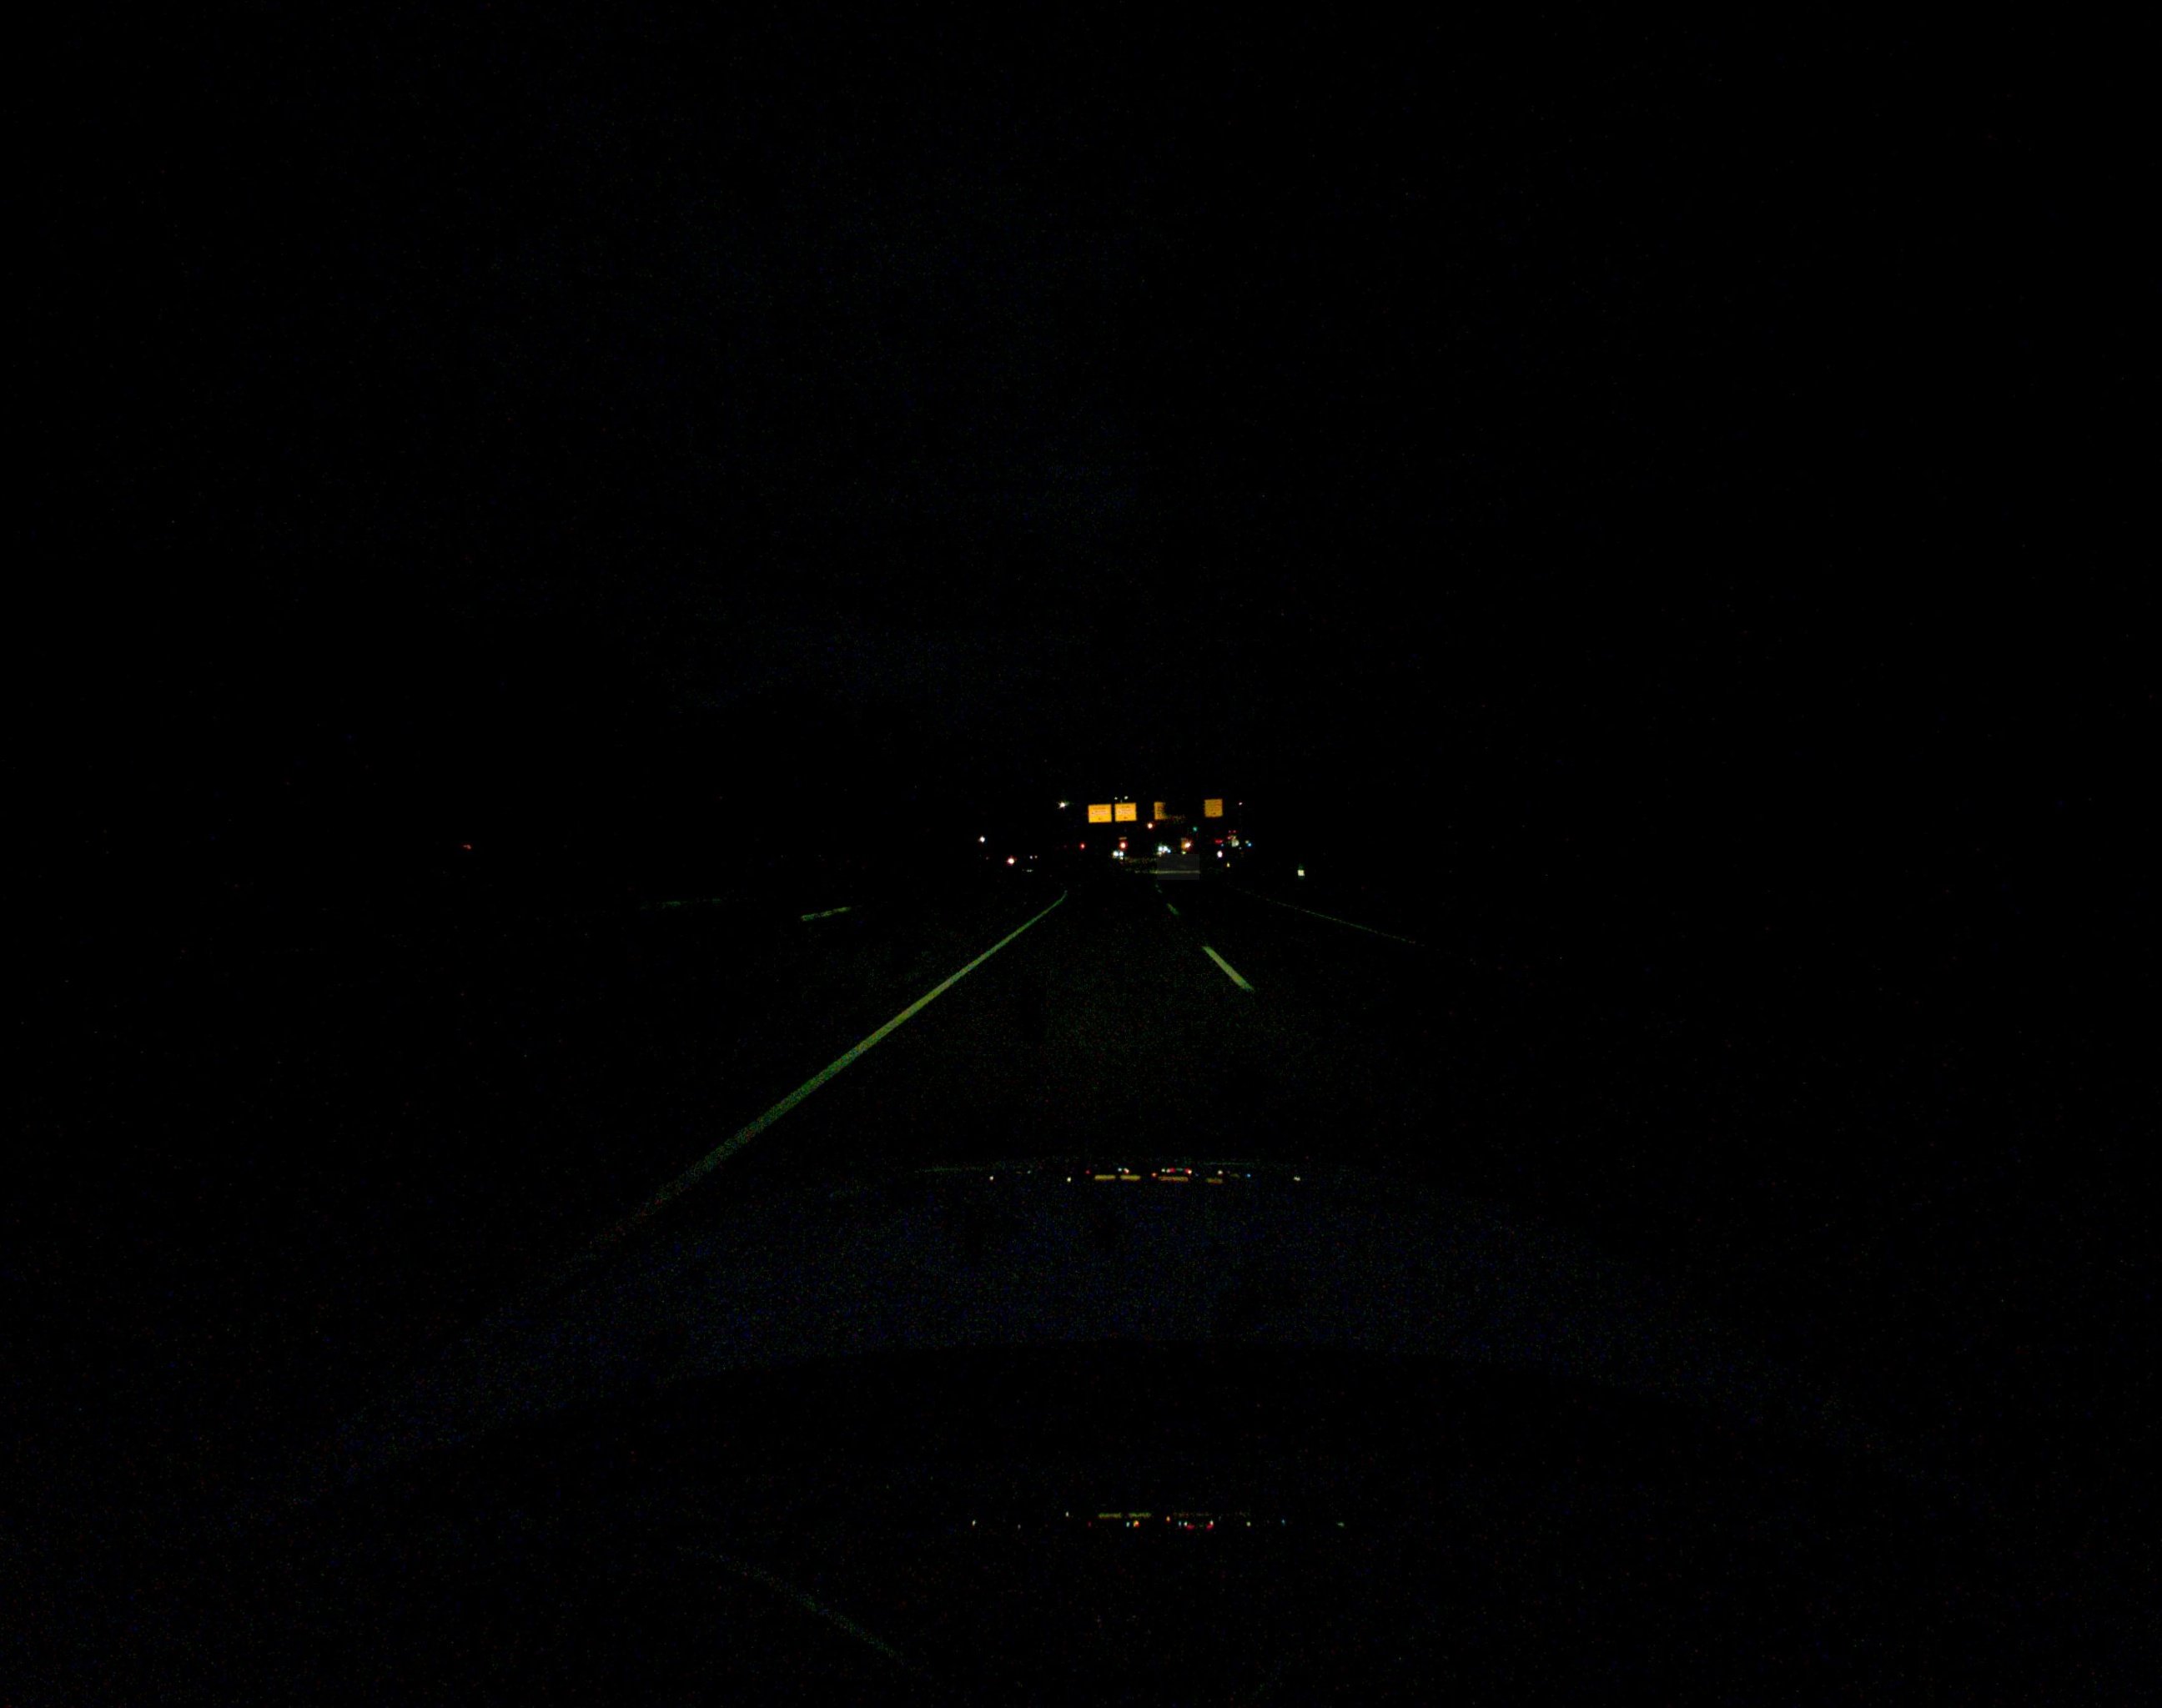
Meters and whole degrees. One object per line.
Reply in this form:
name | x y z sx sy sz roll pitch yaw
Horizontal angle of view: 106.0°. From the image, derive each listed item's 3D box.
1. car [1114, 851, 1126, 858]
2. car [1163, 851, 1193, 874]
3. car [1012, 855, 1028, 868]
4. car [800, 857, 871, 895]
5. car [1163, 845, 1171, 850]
car | 9.012 0.059 187.828 1.980 1.425 4.547 -1 1 11
car | 7.229 0.600 61.050 1.998 1.611 3.850 -1 0 4
car | -7.896 0.967 106.102 1.695 1.623 4.308 -1 0 1
car | -12.043 1.031 40.250 1.763 1.641 4.664 -4 0 3
car | 24.850 -1.868 235.568 1.980 1.482 4.697 -1 1 11
